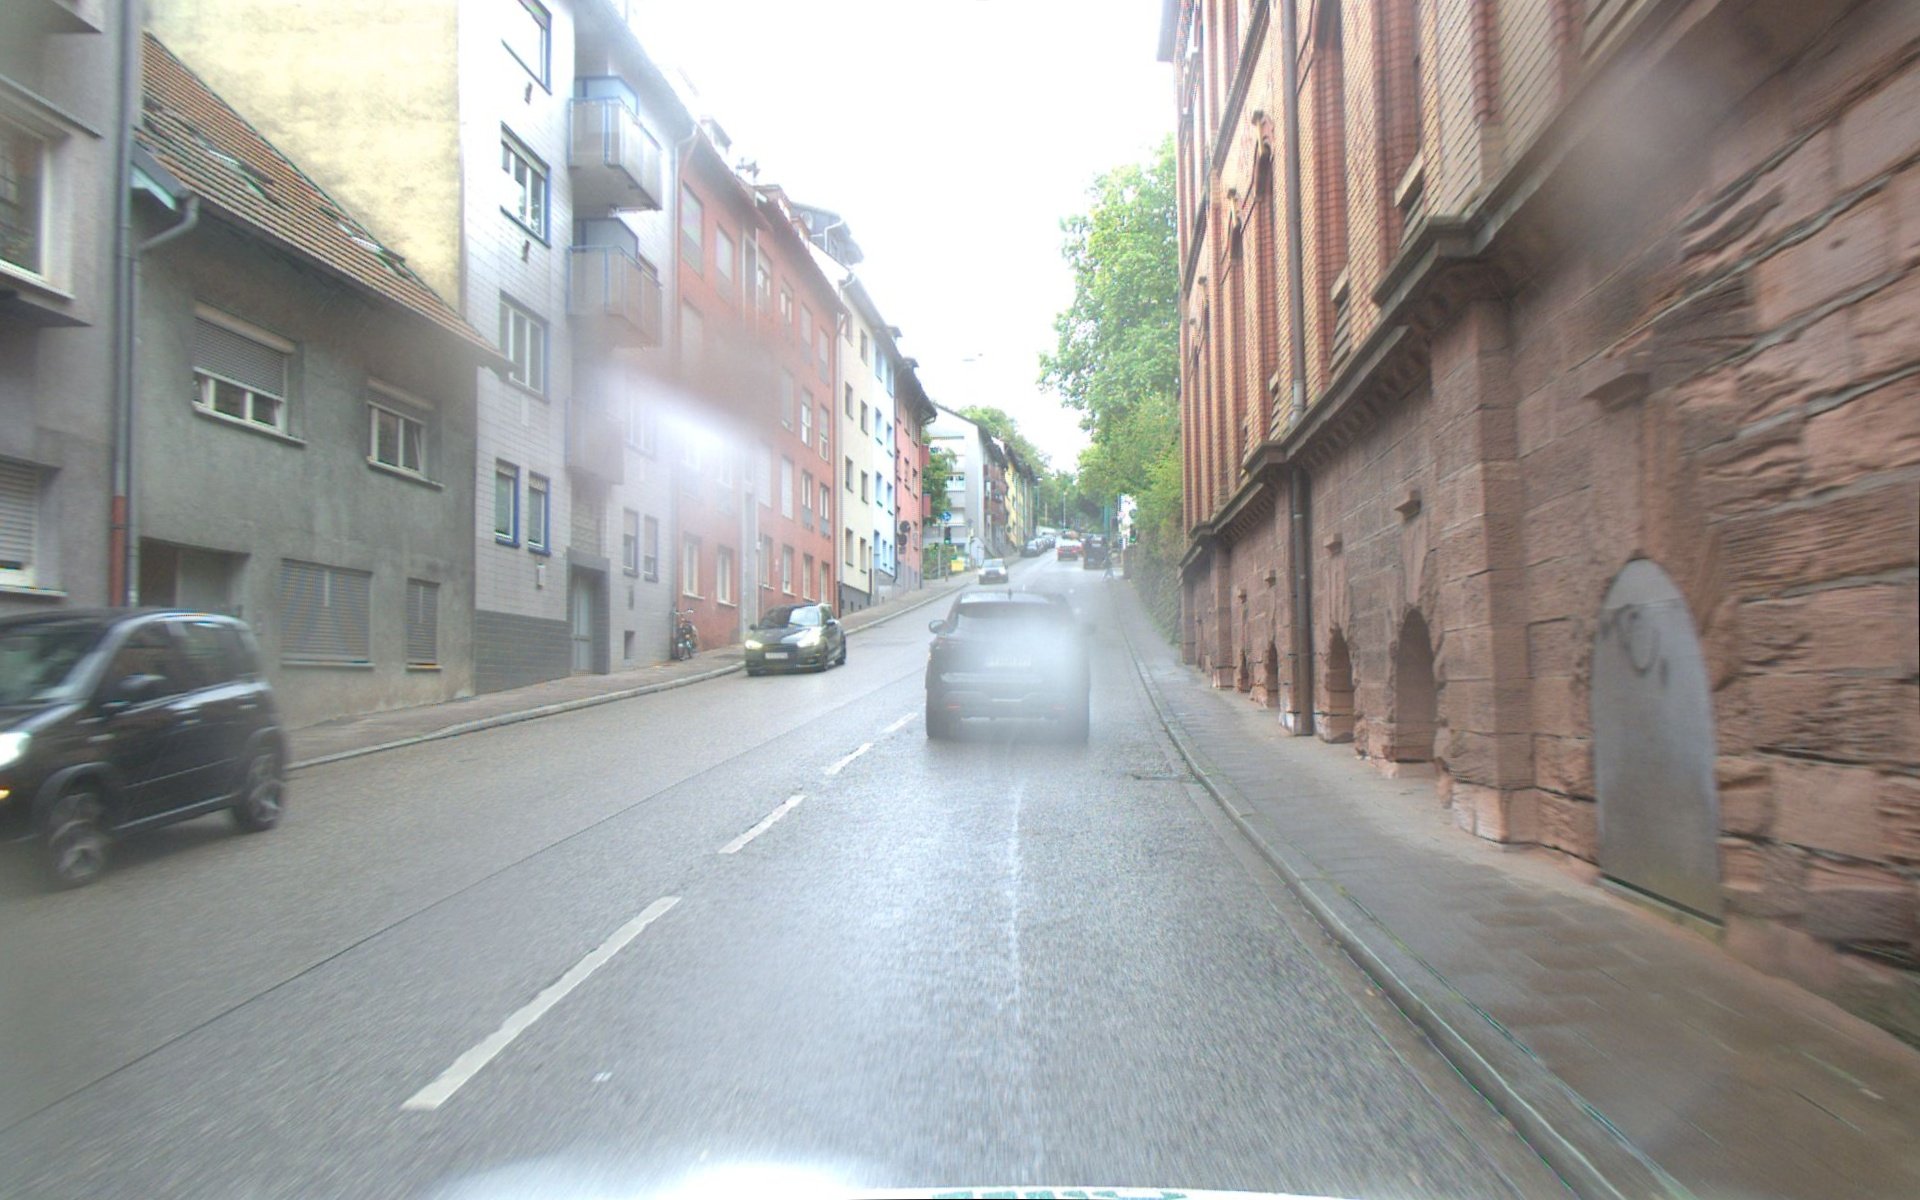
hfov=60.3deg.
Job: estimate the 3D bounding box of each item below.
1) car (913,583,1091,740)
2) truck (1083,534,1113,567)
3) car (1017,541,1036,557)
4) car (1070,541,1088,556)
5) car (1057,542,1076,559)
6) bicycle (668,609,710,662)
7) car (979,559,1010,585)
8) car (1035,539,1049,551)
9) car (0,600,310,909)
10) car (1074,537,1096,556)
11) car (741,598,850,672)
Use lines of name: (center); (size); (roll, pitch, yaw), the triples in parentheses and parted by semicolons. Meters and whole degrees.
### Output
car: (0.494, 0.643, 19.110); (1.842, 1.622, 3.922); (0, 0, 2)
truck: (10.668, -3.789, 127.830); (2.241, 2.482, 4.455); (-1, 1, 5)
car: (6.922, -5.305, 172.755); (1.756, 1.536, 4.003); (-1, 1, 5)
car: (12.291, -5.297, 170.298); (1.756, 1.536, 4.003); (-1, 1, 5)
car: (10.112, -4.687, 156.984); (1.756, 1.536, 4.003); (-1, 1, 5)
bicycle: (-6.207, 0.794, 37.934); (0.488, 1.127, 1.801); (-1, 1, 6)
car: (2.136, -1.749, 101.261); (1.678, 1.473, 3.924); (-1, 2, 4)
car: (10.797, -7.236, 217.478); (1.756, 1.536, 4.003); (-1, 1, 5)
car: (-5.487, 0.808, 9.978); (1.610, 1.522, 3.377); (-3, 0, 3)
car: (10.792, -4.617, 142.563); (1.756, 1.536, 4.503); (-1, 1, 5)
car: (-3.460, 0.713, 35.383); (1.610, 1.402, 3.853); (-3, 0, 5)
